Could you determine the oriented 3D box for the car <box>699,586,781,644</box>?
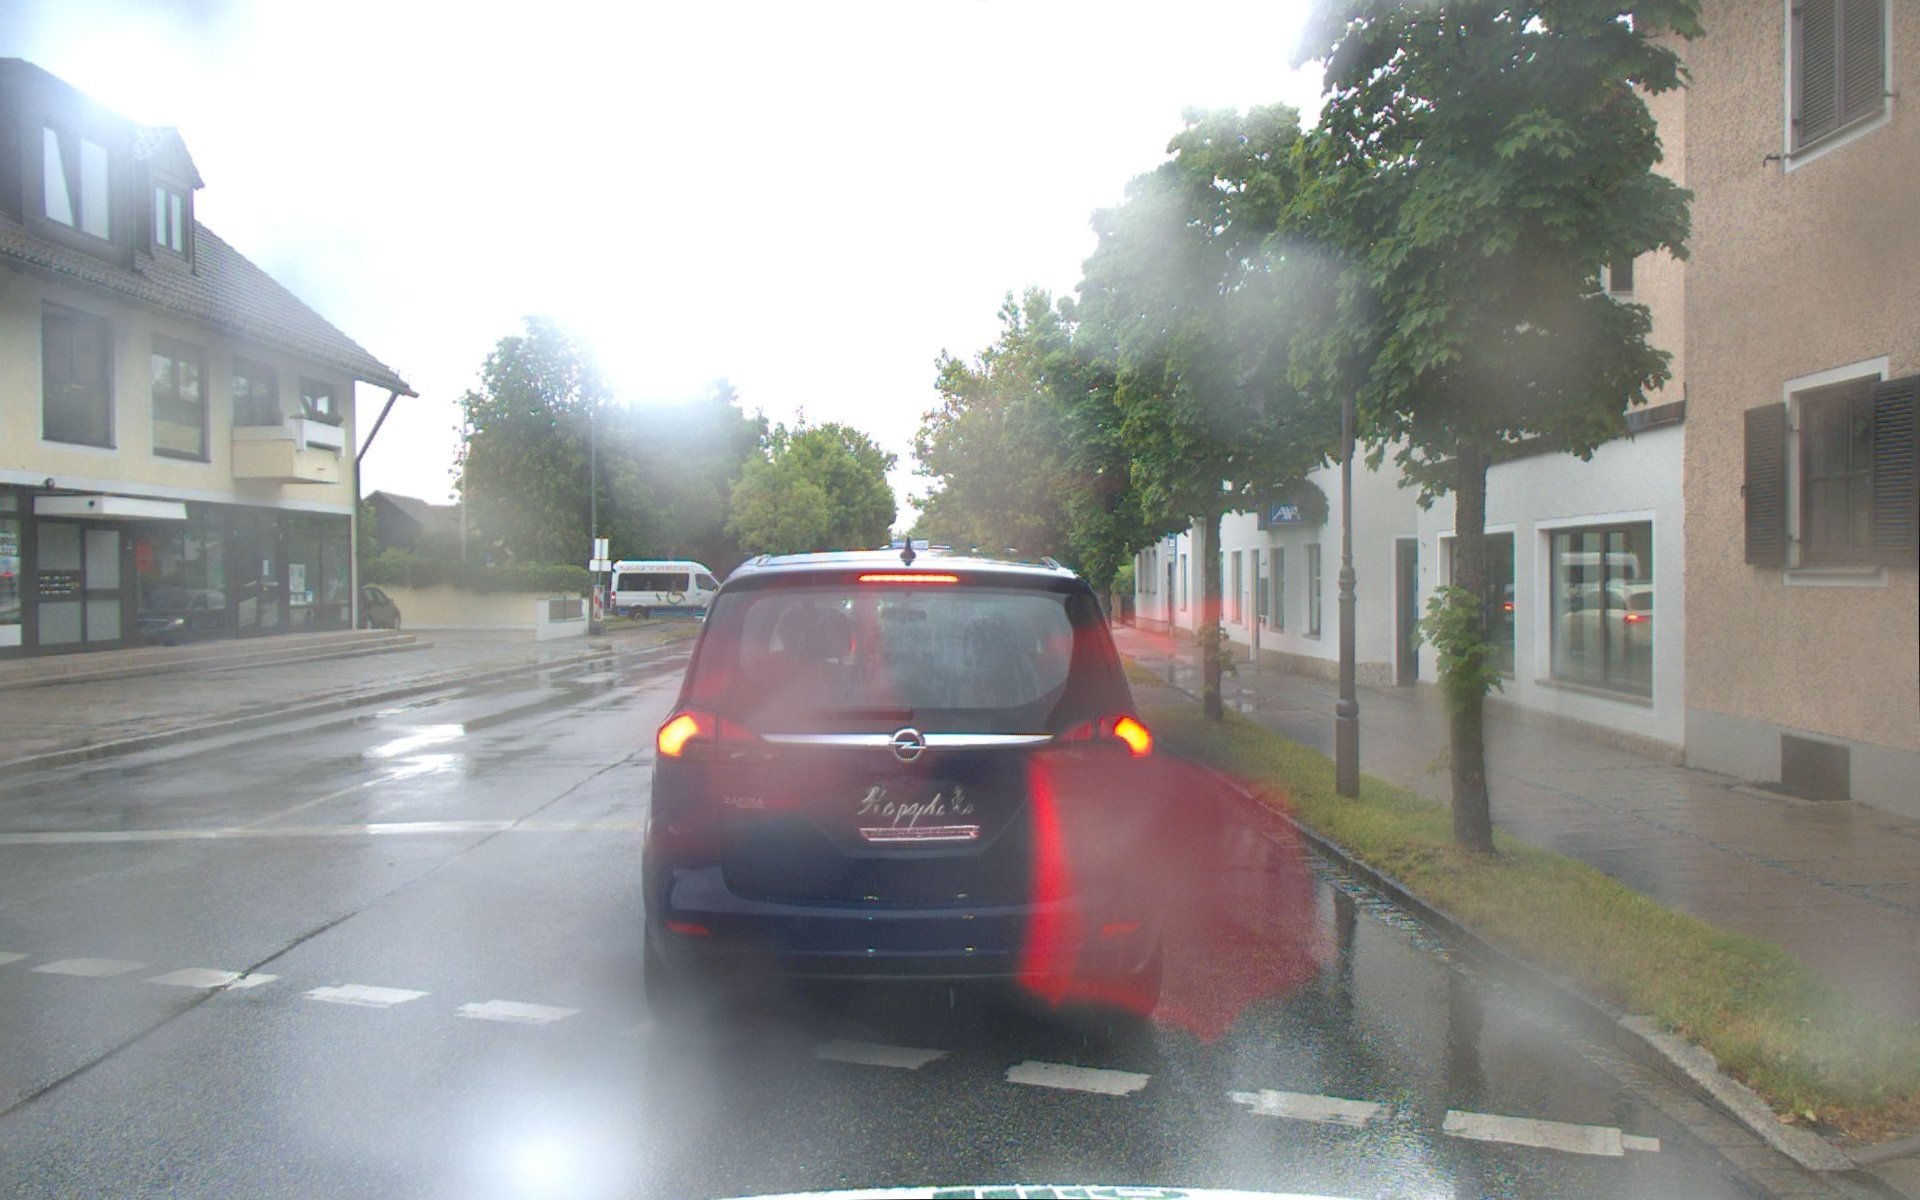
[{"bbox_3d":[-6.260,0.393,47.405,1.877,1.560,3.898,-1,0,-1],"label":"car"}]

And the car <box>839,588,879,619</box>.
[{"bbox_3d":[-5.380,0.163,88.727,1.927,1.590,4.151,-1,0,-1],"label":"car"}]

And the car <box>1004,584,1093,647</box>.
[{"bbox_3d":[2.367,0.402,45.193,2.075,1.609,3.934,1,0,-2],"label":"car"}]

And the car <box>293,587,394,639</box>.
[{"bbox_3d":[-17.705,0.344,47.672,1.574,1.404,3.508,-1,0,0],"label":"car"}]

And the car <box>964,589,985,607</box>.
[{"bbox_3d":[1.131,-0.164,134.042,1.597,1.402,3.622,1,0,-1],"label":"car"}]

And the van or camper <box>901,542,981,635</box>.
[{"bbox_3d":[-0.593,-0.353,51.082,2.312,2.712,5.370,0,0,-1],"label":"van or camper"}]

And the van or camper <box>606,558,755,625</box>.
[{"bbox_3d":[-11.855,-0.364,70.439,6.133,2.754,2.096,0,0,-9],"label":"van or camper"}]

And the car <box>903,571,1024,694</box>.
[{"bbox_3d":[0.025,0.453,25.348,1.720,1.735,3.618,0,0,-1],"label":"car"}]

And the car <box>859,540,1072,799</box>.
[{"bbox_3d":[0.019,0.481,13.239,1.470,1.807,3.111,1,0,-1],"label":"car"}]

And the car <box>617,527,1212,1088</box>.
[{"bbox_3d":[-0.159,0.605,6.729,1.733,1.632,3.662,1,0,-1],"label":"car"}]

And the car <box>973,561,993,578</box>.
[{"bbox_3d":[1.980,-2.632,143.470,1.597,1.402,3.622,-1,0,-1],"label":"car"}]
